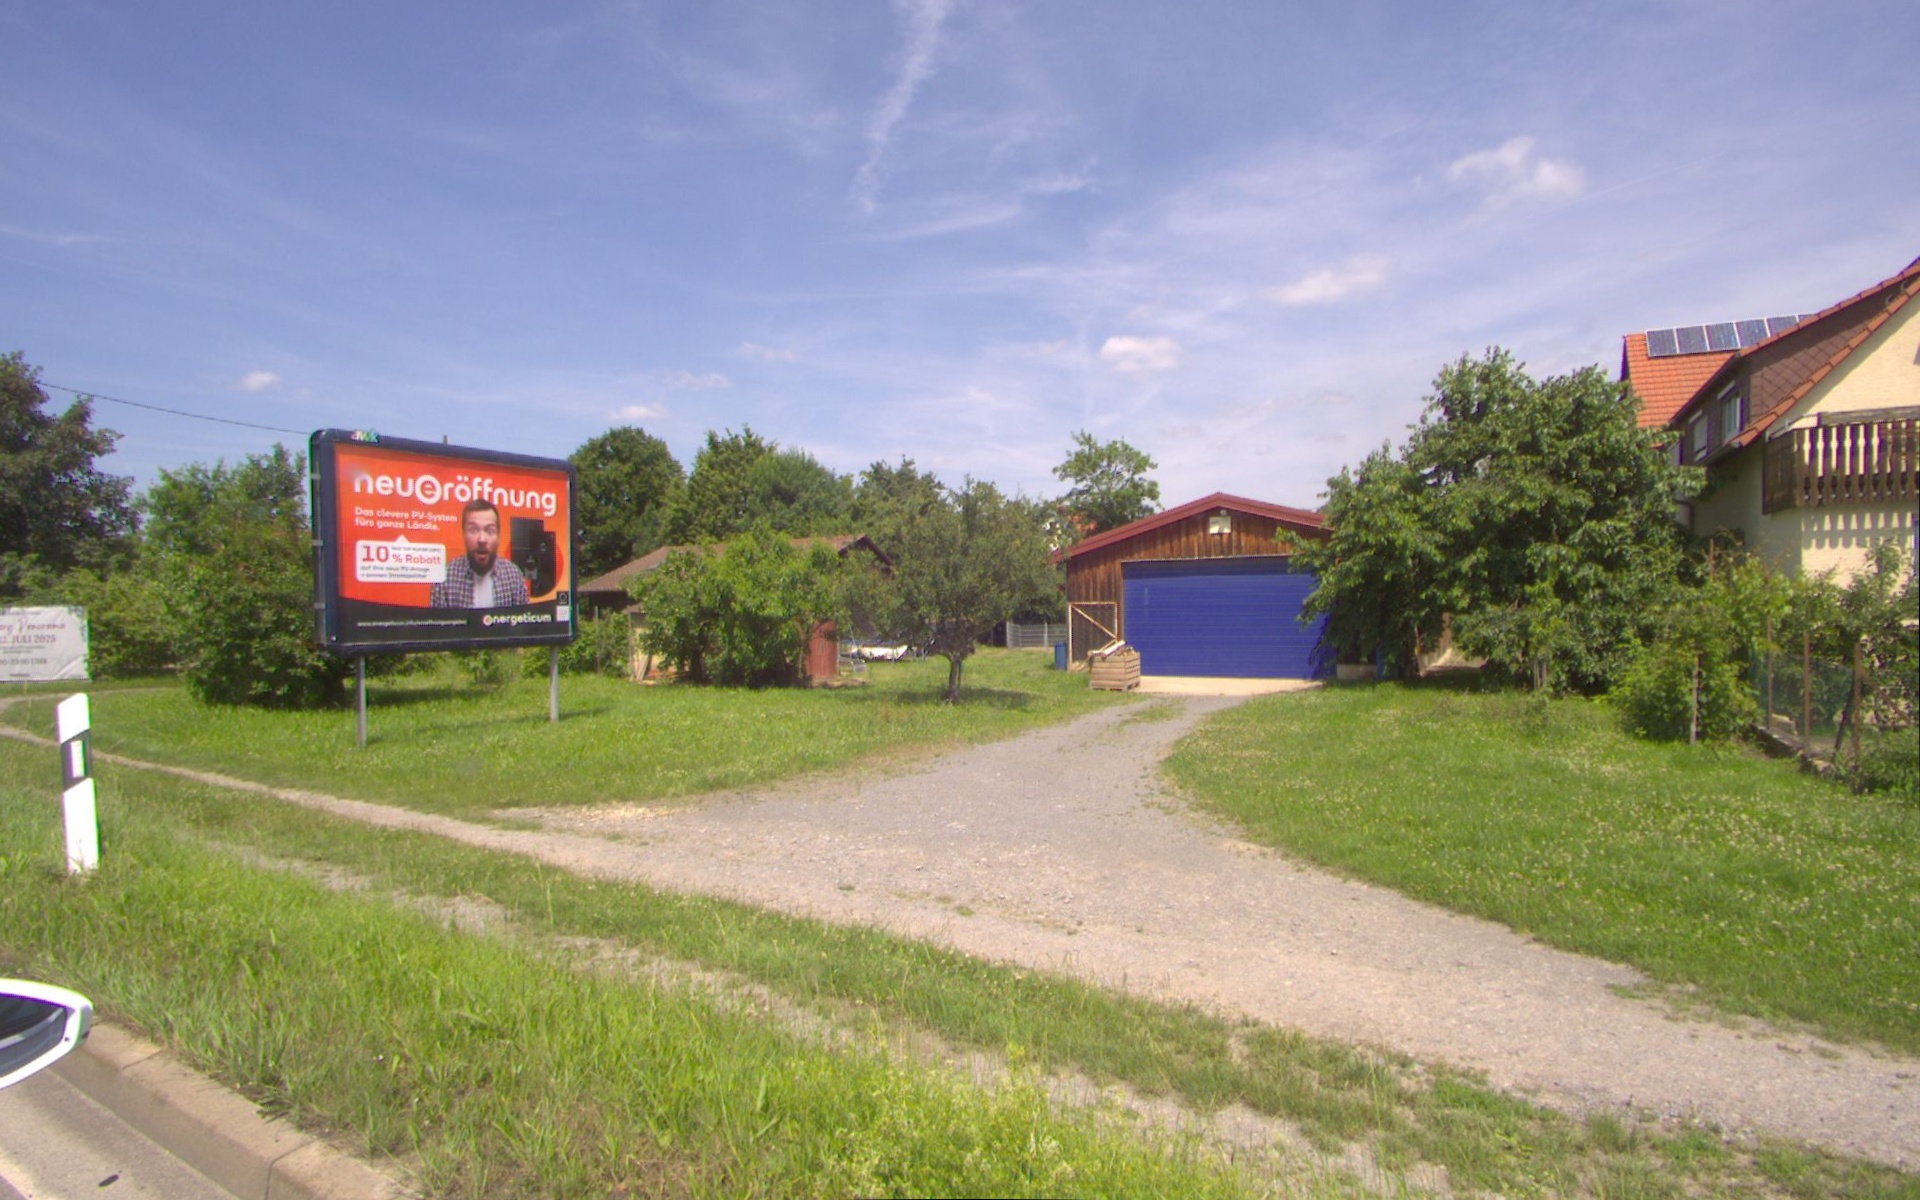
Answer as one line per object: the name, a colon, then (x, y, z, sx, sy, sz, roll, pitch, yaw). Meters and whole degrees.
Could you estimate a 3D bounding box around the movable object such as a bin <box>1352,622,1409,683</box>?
movable object such as a bin: (10.218, 1.254, 24.310, 1.049, 1.415, 1.271, 0, -1, 33)

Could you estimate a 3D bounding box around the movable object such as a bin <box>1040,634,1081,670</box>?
movable object such as a bin: (3.053, 1.571, 30.348, 1.044, 1.046, 1.040, 0, -1, 17)
